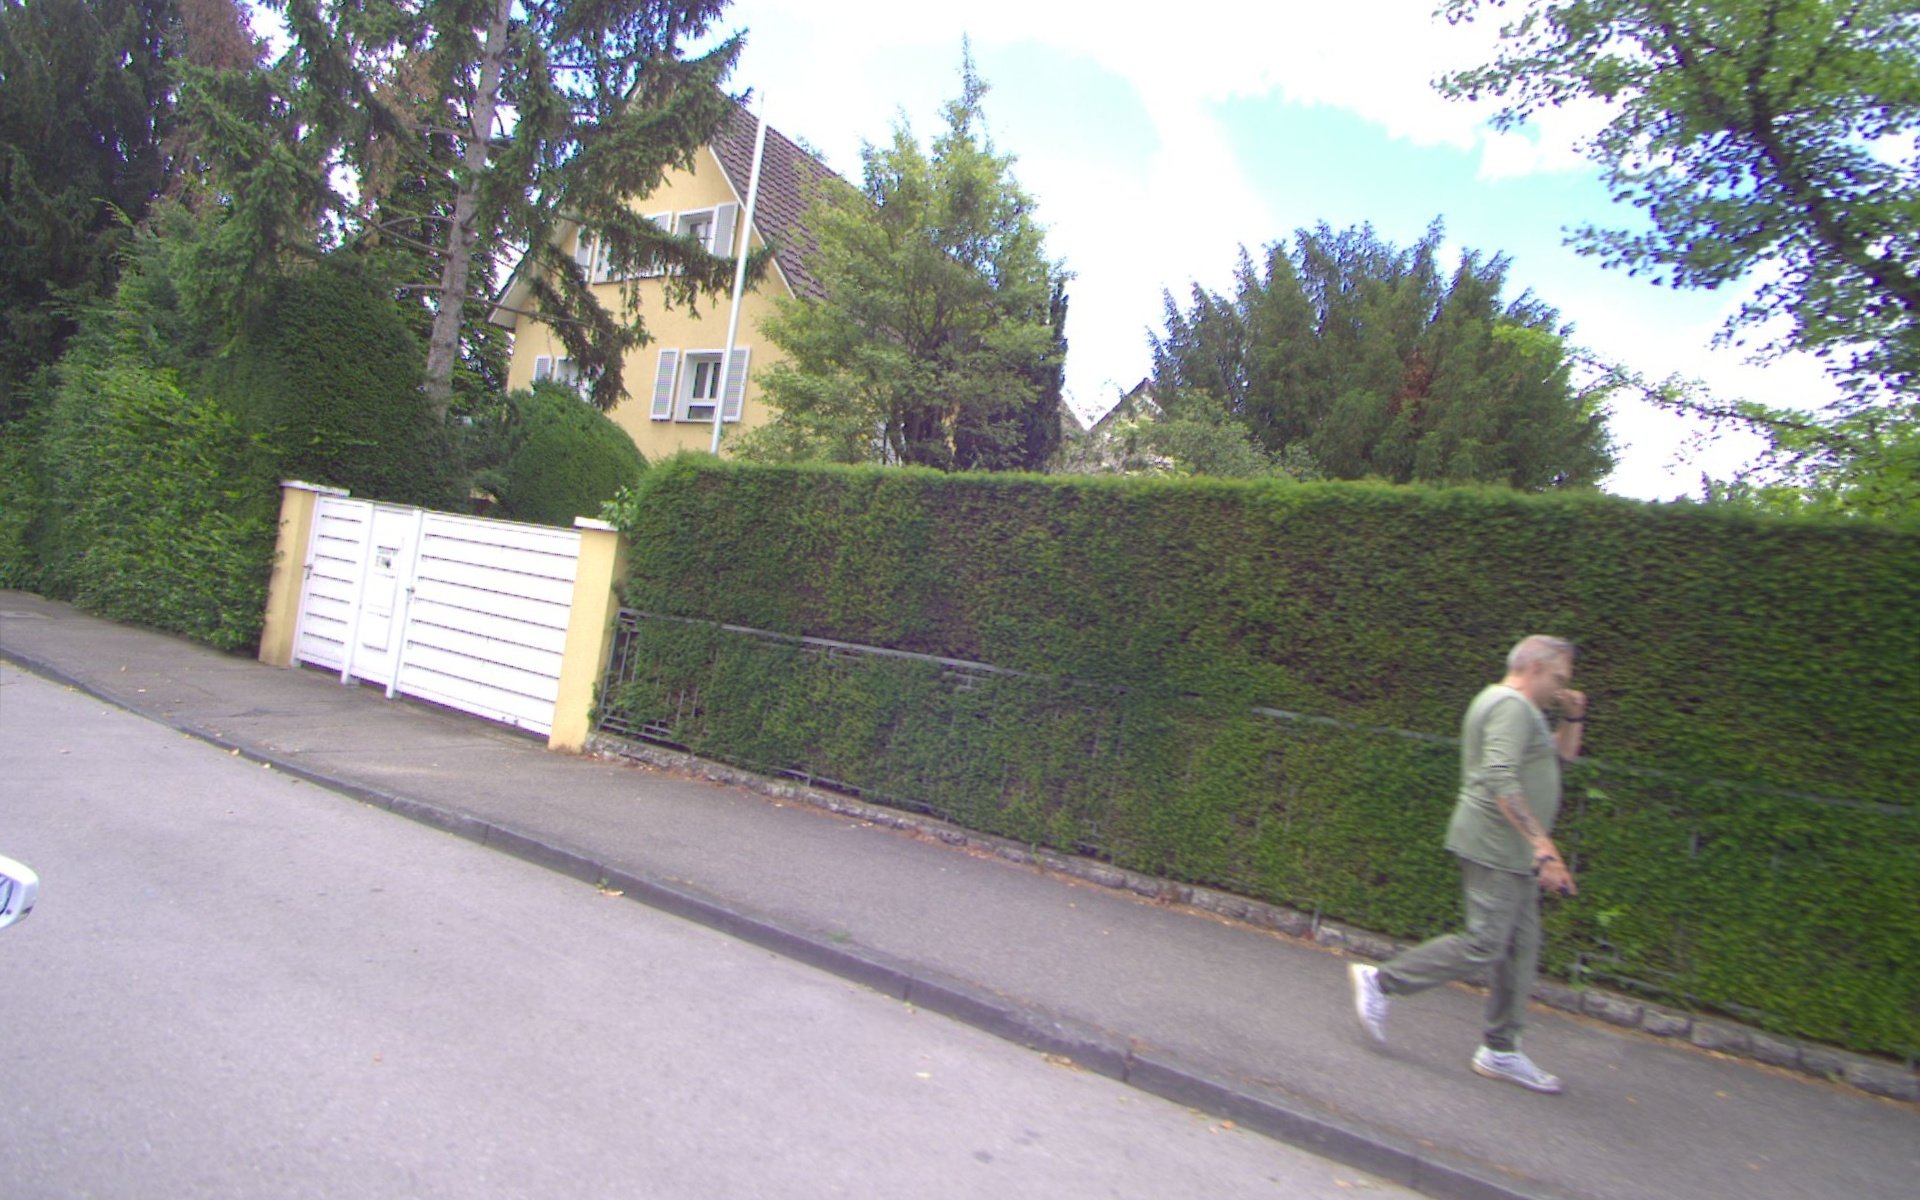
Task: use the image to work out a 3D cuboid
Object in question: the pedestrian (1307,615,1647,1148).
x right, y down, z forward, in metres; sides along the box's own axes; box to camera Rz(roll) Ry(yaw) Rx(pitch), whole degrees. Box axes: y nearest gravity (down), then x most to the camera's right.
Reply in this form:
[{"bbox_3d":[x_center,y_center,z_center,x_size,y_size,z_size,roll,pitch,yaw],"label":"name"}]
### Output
[{"bbox_3d":[1.994,0.981,3.923,0.902,1.719,0.670,7,1,31],"label":"pedestrian"}]
